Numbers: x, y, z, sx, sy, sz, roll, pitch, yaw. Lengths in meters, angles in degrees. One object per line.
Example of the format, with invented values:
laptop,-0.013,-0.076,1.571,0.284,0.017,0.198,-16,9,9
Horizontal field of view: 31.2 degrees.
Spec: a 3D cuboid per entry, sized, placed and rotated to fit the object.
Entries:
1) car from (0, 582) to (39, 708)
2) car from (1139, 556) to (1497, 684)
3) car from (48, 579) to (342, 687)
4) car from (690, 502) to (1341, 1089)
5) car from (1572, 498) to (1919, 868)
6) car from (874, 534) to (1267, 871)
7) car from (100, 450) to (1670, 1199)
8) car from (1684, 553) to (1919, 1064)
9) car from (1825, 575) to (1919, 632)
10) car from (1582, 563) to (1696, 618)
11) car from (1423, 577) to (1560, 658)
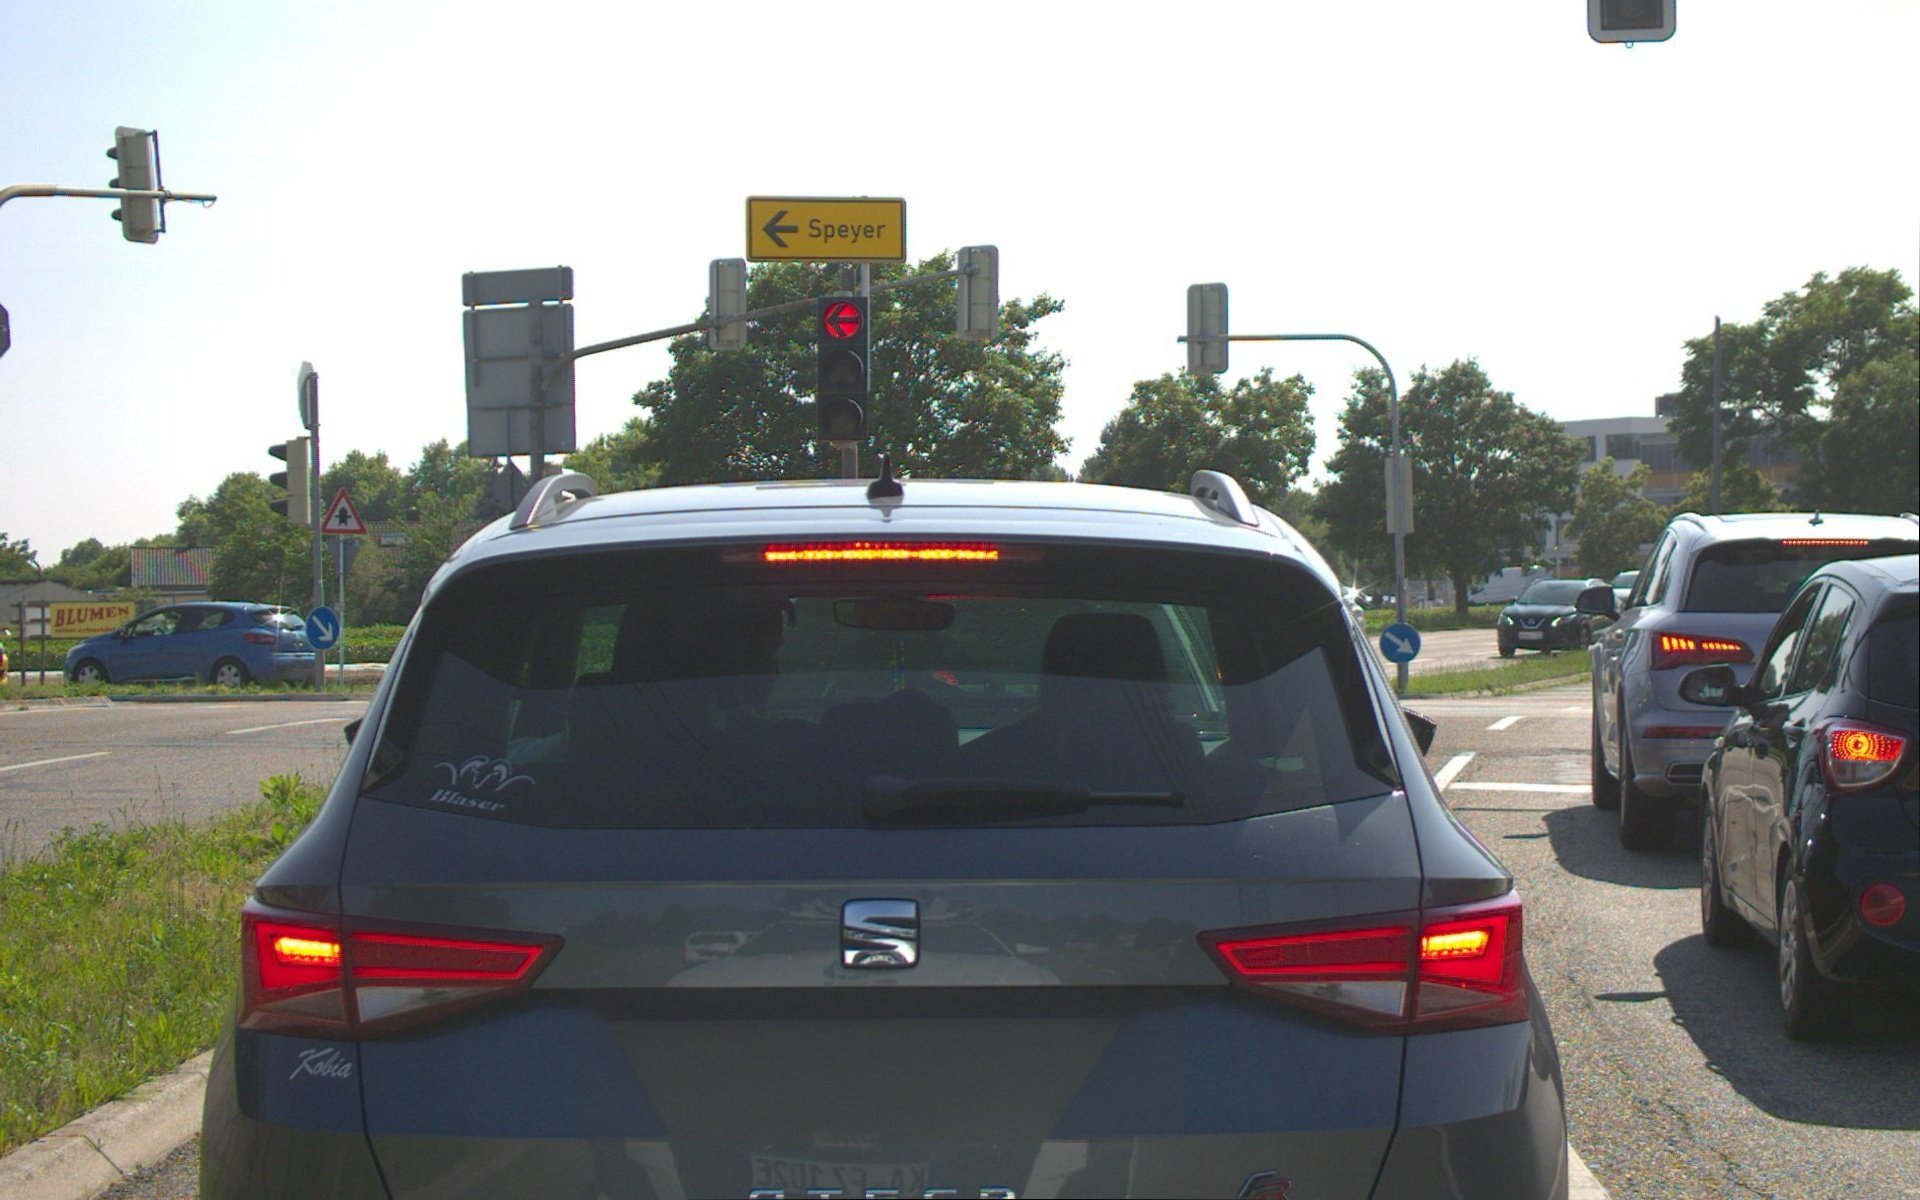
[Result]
car,-14.369,0.602,45.557,3.993,1.645,1.817,0,0,28
car,4.435,0.243,42.571,4.029,1.514,1.805,0,1,26
car,-11.196,0.478,50.345,3.872,1.514,1.805,0,1,24
car,0.160,0.515,11.146,1.742,1.563,3.624,1,0,0
car,4.091,0.358,17.563,1.633,1.671,3.749,1,1,6
car,0.644,0.444,17.267,1.742,1.479,3.623,1,0,5
car,-0.110,0.614,5.660,1.742,1.563,3.624,1,0,-1
car,3.390,0.578,11.335,1.633,1.443,3.294,1,1,6
car,27.558,0.107,103.813,1.880,1.667,3.764,1,1,28
car,19.288,-0.265,97.612,1.721,1.492,3.762,2,1,36
car,11.458,0.367,73.965,1.879,1.667,3.765,1,1,25
